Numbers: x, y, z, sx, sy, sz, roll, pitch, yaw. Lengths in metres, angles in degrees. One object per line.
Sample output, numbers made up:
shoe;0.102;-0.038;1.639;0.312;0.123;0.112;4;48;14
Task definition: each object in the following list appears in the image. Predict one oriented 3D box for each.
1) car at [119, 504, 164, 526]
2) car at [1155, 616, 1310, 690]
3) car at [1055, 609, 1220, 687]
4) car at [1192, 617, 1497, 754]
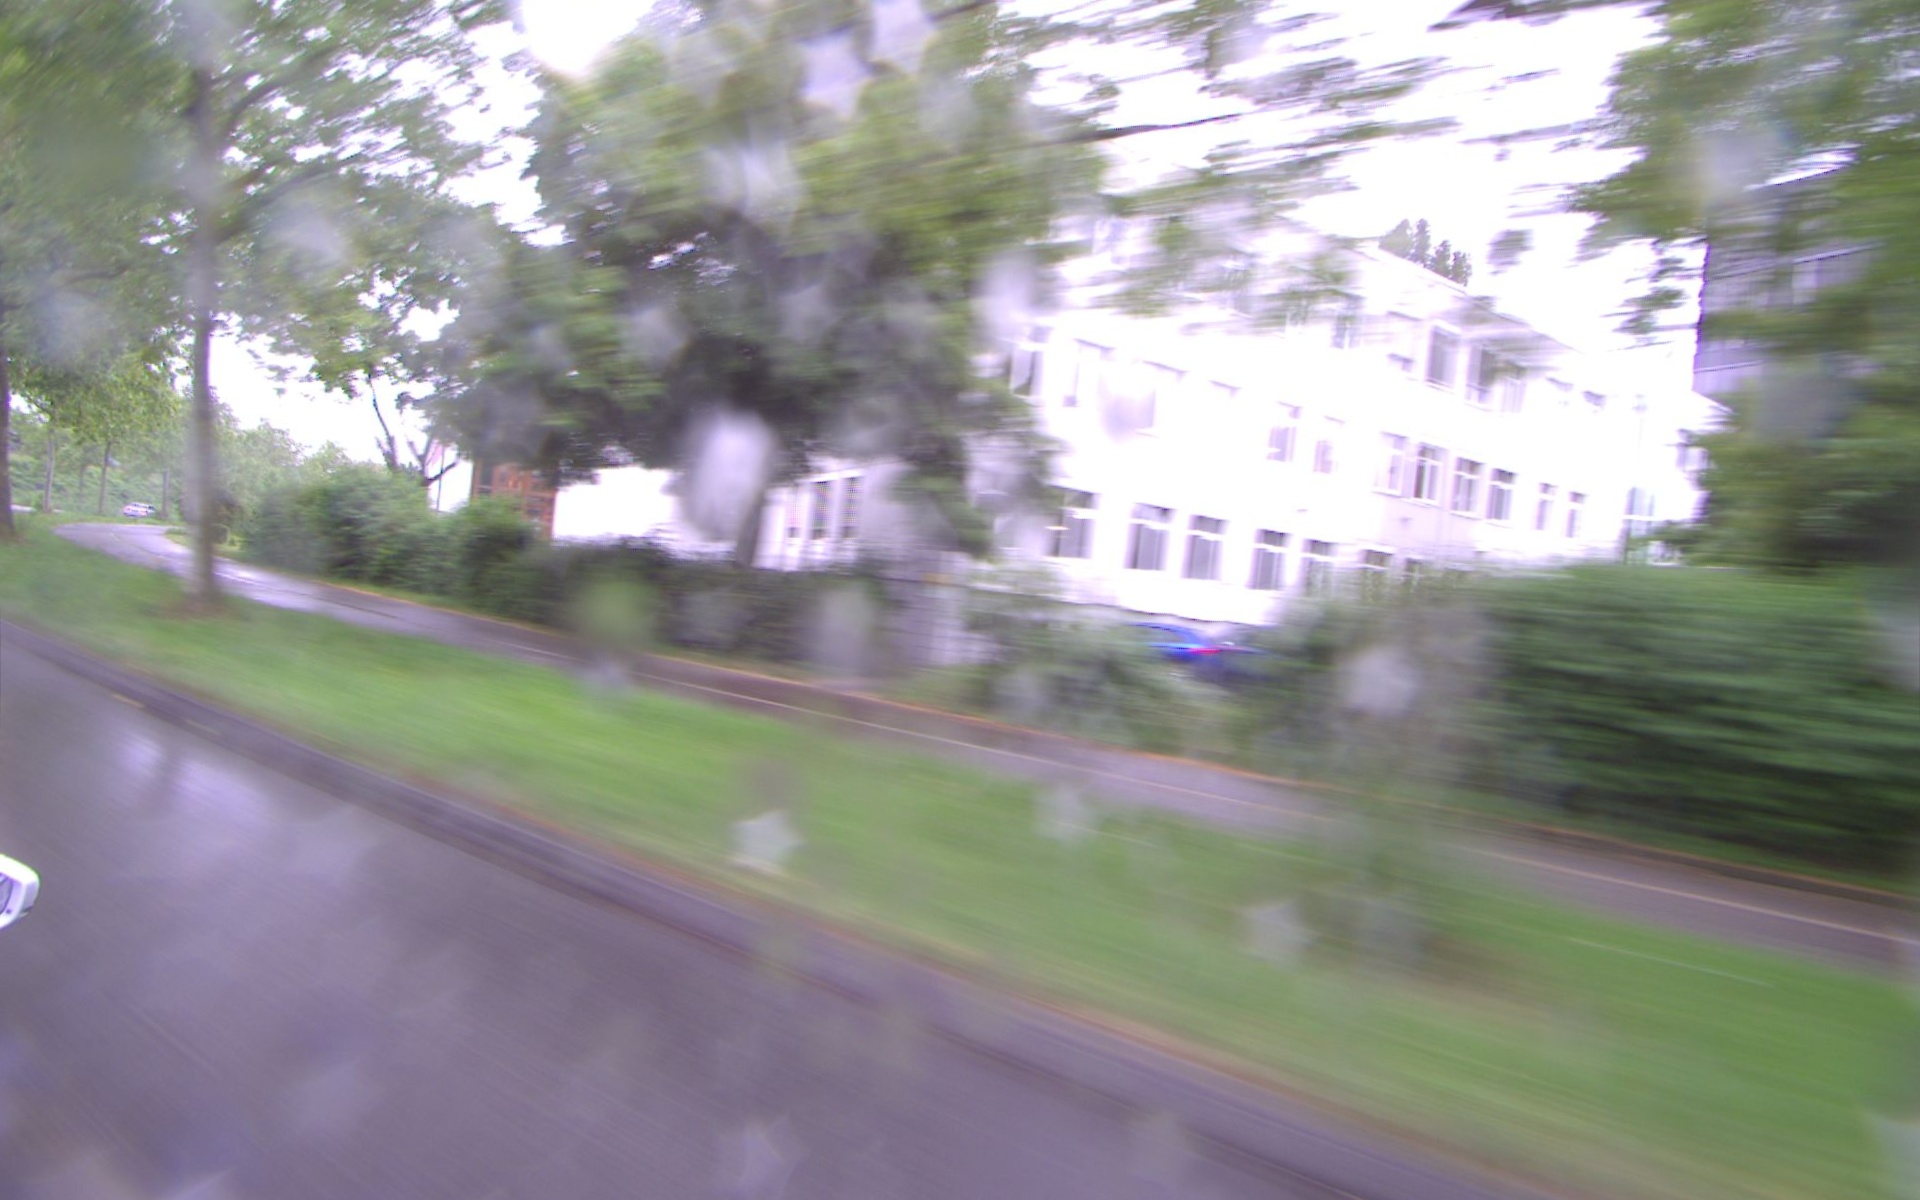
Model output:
car;-73.700;-7.661;90.612;1.761;1.574;3.980;9;0;-20
car;7.075;1.363;26.087;3.638;1.374;1.599;7;-1;19
car;4.357;1.180;24.647;3.638;1.374;1.599;7;-1;19
car;5.340;1.158;14.358;1.586;1.374;3.668;8;-1;-38
